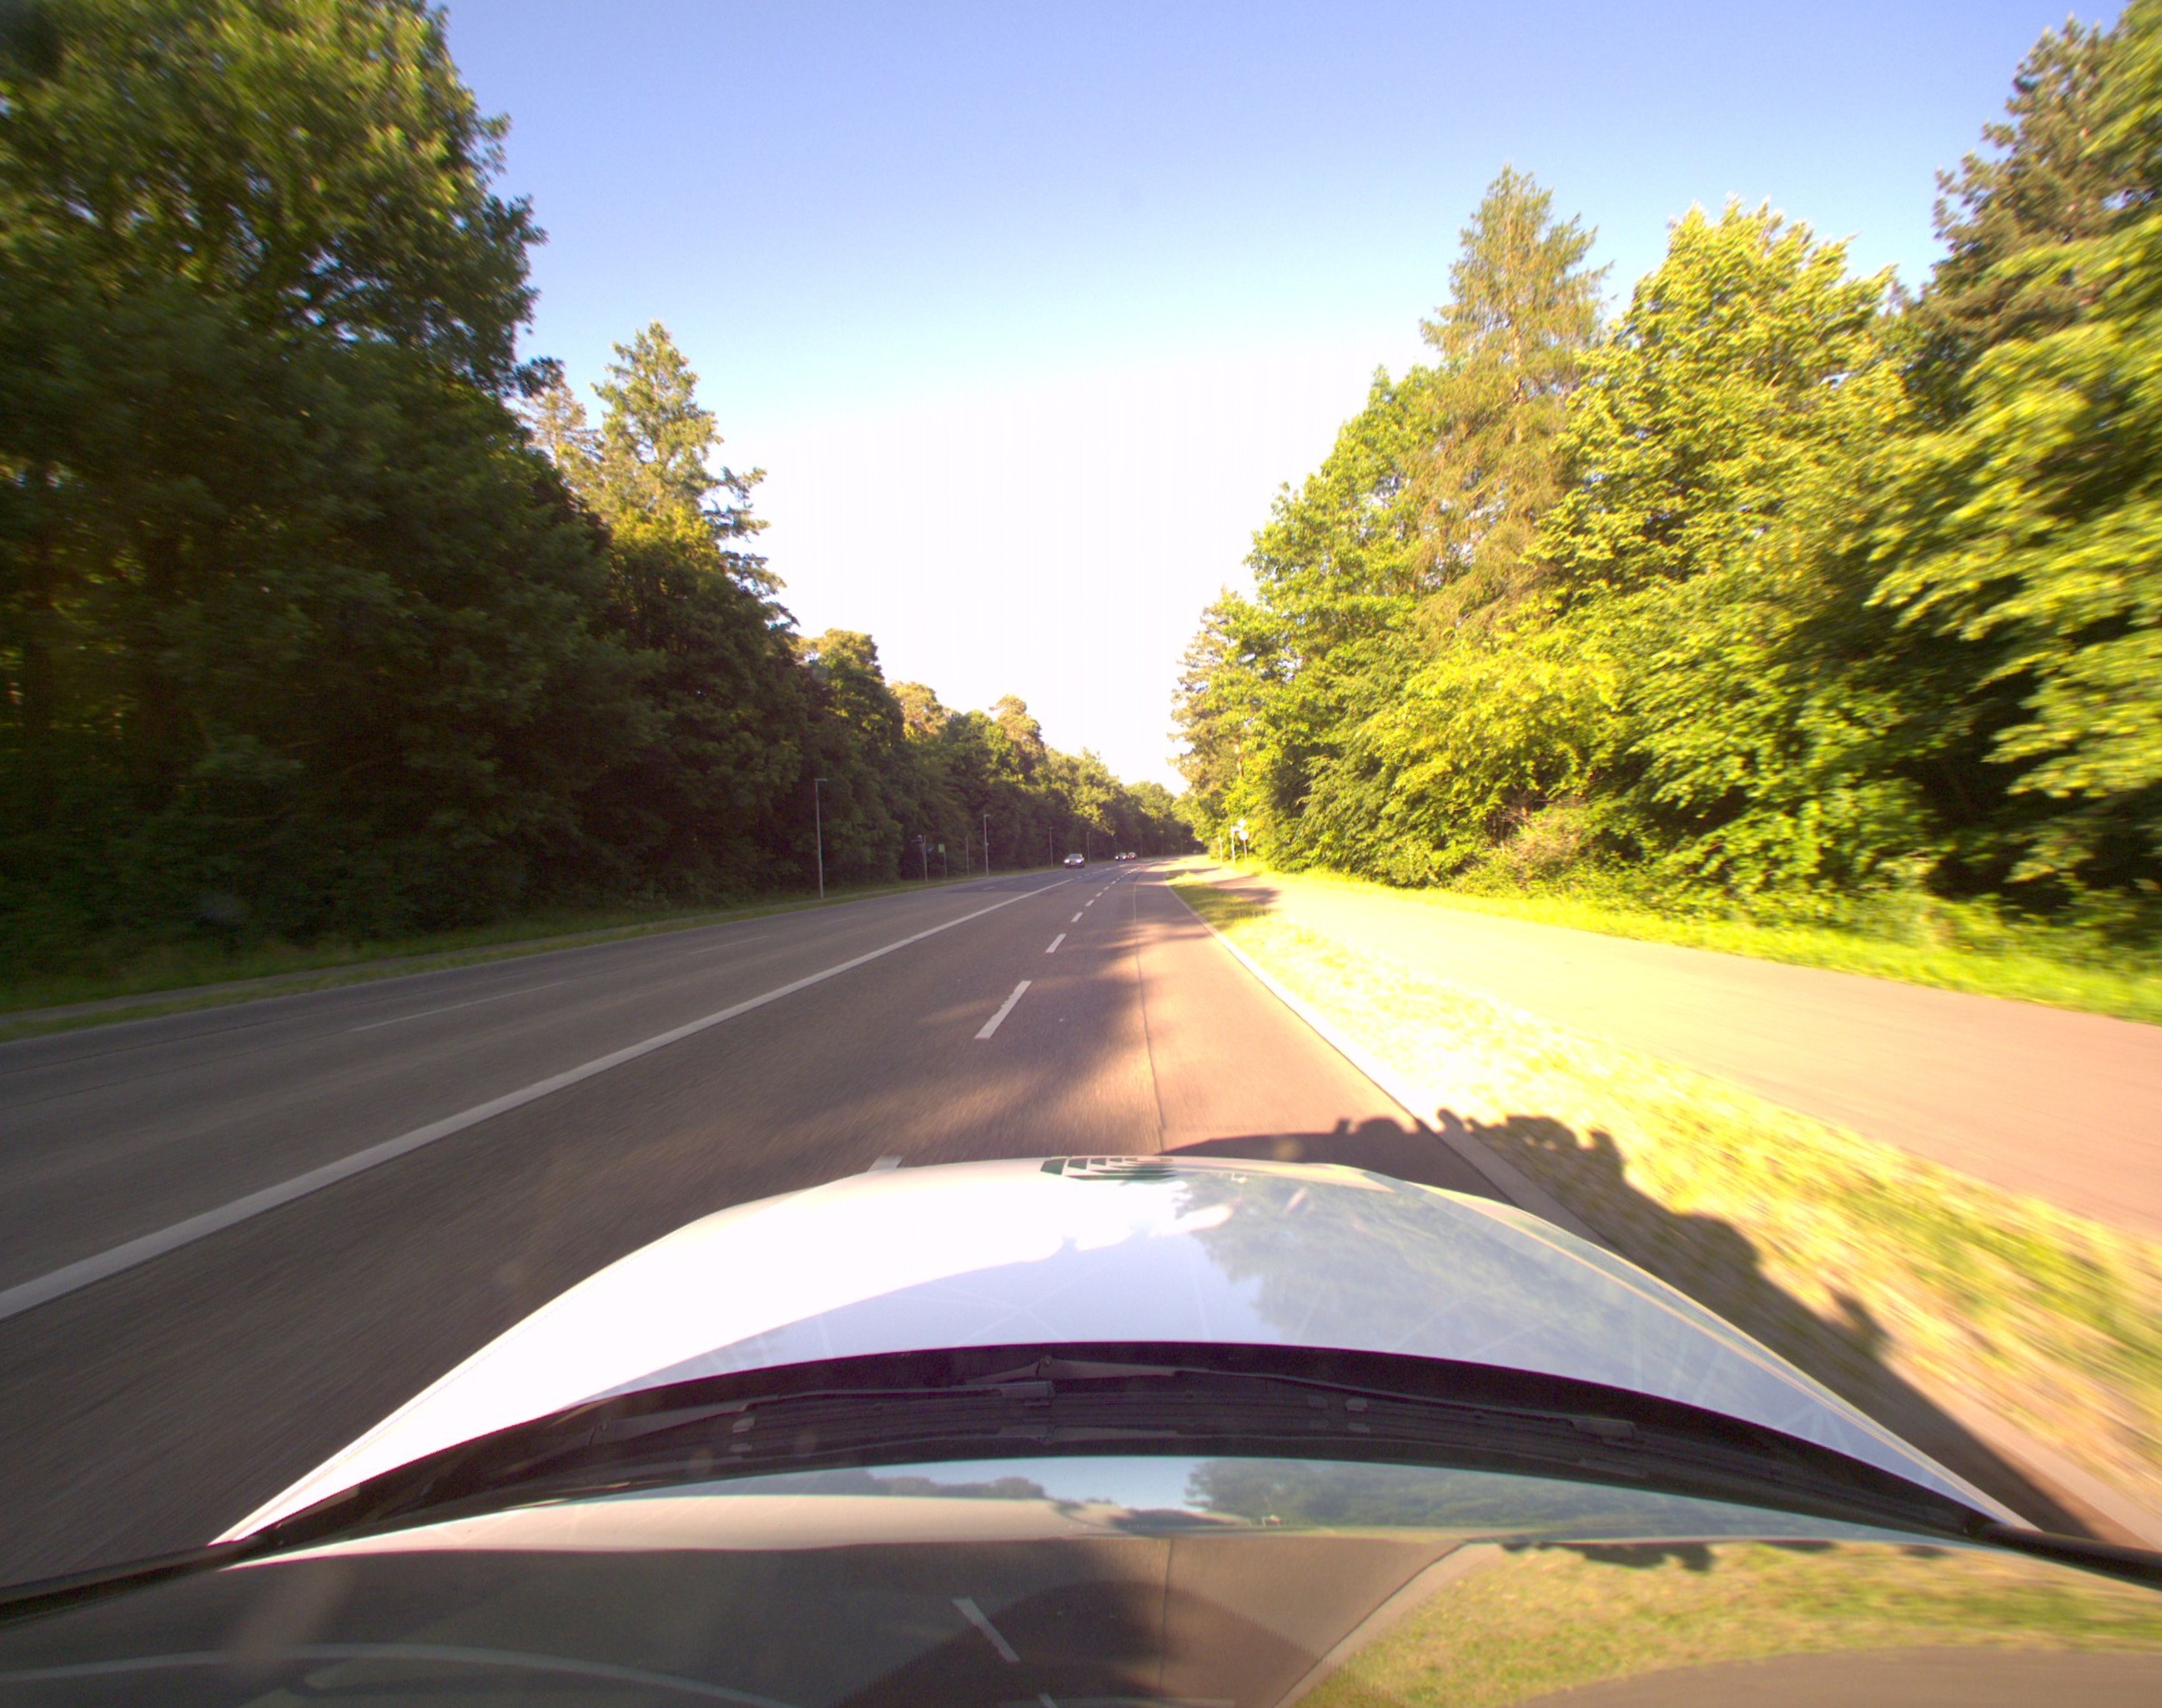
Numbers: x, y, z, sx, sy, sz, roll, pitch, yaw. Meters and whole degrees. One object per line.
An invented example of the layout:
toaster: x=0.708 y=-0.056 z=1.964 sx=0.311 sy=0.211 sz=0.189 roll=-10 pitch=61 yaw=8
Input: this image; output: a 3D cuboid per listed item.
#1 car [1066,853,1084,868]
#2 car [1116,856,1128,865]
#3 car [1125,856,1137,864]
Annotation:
car: x=-0.670 y=0.720 z=92.866 sx=1.987 sy=1.585 sz=3.999 roll=-2 pitch=-1 yaw=0
car: x=7.497 y=1.220 z=148.017 sx=1.983 sy=1.585 sz=4.007 roll=-2 pitch=-1 yaw=6
car: x=10.308 y=1.221 z=167.690 sx=1.982 sy=1.585 sz=4.009 roll=-2 pitch=-1 yaw=8
